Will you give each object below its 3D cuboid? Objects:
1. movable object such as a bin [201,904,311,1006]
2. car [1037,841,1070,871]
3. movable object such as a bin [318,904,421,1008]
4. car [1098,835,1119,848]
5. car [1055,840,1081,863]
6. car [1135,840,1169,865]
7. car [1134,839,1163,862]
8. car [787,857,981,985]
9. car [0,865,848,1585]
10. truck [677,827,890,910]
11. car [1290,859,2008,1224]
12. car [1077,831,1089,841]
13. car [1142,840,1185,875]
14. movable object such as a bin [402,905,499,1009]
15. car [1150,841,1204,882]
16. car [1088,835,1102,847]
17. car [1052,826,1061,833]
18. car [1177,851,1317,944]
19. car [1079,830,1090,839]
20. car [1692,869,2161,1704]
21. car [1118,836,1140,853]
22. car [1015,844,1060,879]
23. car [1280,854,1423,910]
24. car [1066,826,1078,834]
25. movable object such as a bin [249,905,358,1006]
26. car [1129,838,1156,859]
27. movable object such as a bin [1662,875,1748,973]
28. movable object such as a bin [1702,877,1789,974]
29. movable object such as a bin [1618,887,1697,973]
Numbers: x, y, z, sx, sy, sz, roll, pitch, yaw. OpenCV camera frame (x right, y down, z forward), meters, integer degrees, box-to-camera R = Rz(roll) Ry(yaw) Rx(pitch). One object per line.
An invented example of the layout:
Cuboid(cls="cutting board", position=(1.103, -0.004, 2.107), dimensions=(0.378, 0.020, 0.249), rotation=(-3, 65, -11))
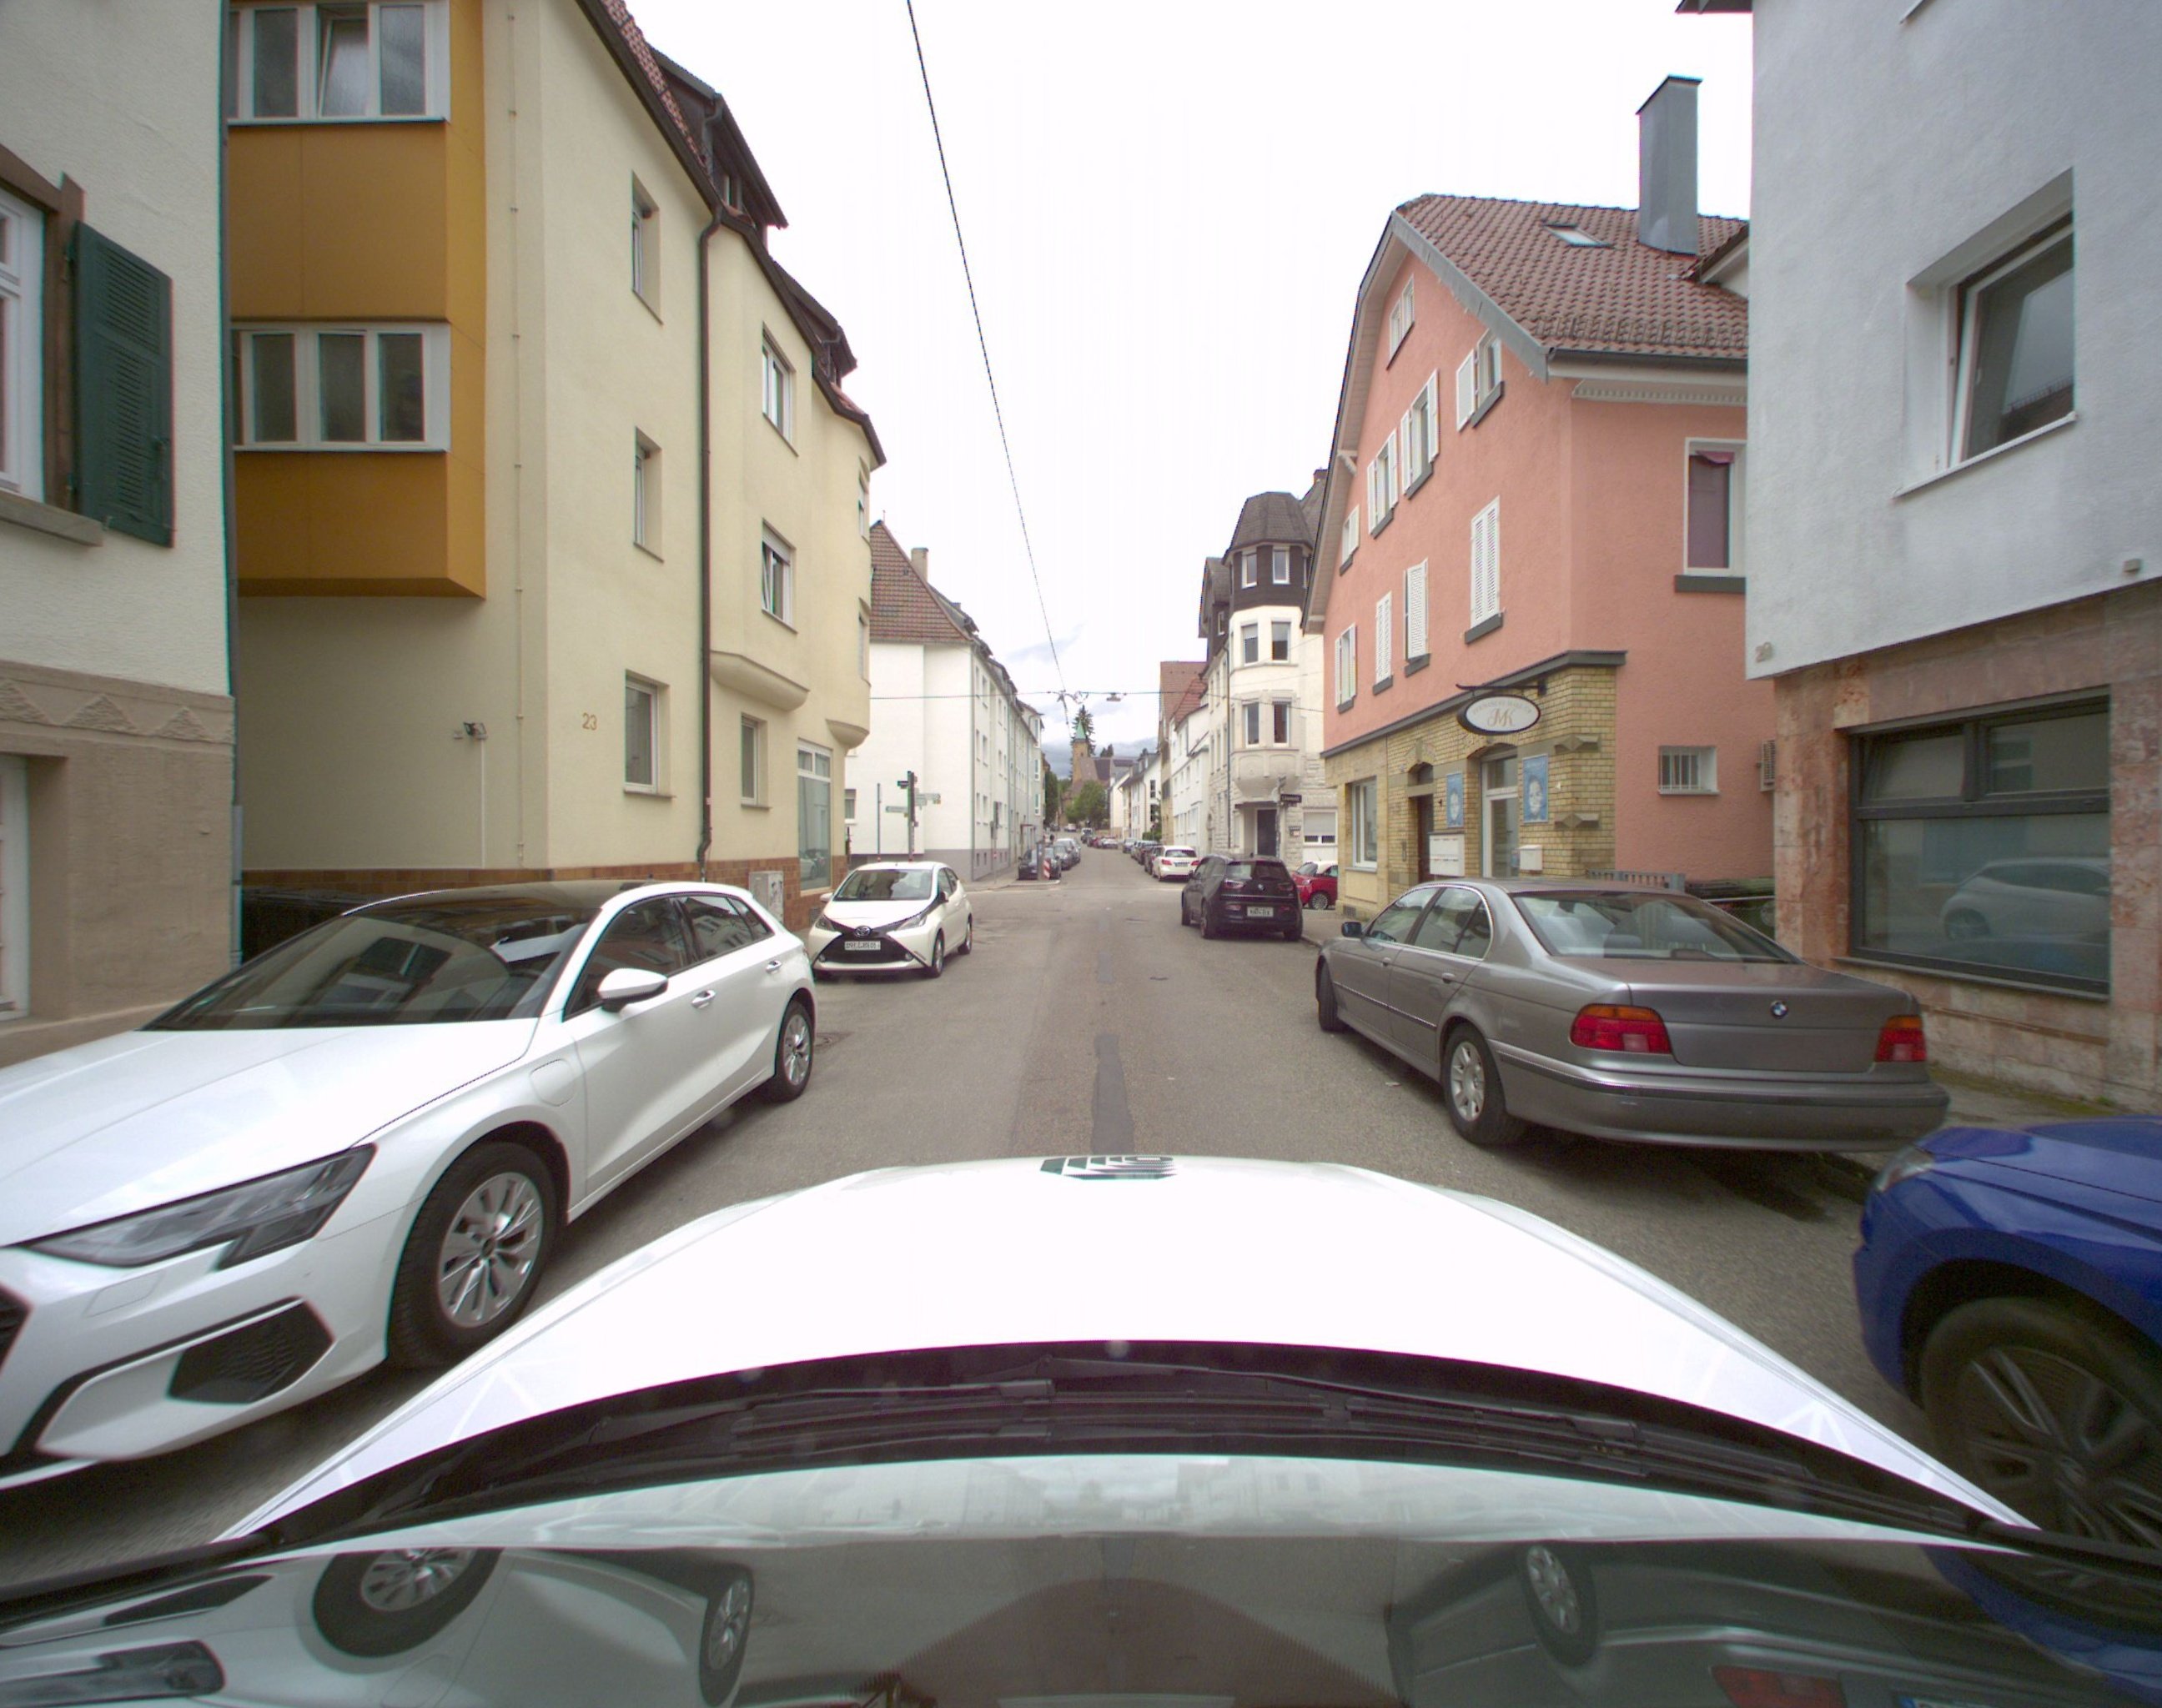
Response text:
Cuboid(cls="movable object such as a bin", position=(-8.031, 0.970, 7.946), dimensions=(0.502, 0.924, 0.546), rotation=(1, 0, -4))
Cuboid(cls="car", position=(-1.519, 0.080, 46.051), dimensions=(1.725, 1.489, 3.719), rotation=(-1, 2, 0))
Cuboid(cls="movable object such as a bin", position=(-6.845, 0.964, 7.856), dimensions=(0.502, 0.924, 0.546), rotation=(1, 0, -4))
Cuboid(cls="car", position=(3.143, -1.476, 94.225), dimensions=(1.783, 1.479, 3.616), rotation=(0, 2, -8))
Cuboid(cls="car", position=(-0.858, -0.217, 55.986), dimensions=(1.725, 1.448, 3.719), rotation=(-1, 2, 0))
Cuboid(cls="car", position=(4.470, -0.107, 51.605), dimensions=(1.663, 1.384, 4.026), rotation=(1, 2, -1))
Cuboid(cls="car", position=(4.789, -0.291, 57.938), dimensions=(1.663, 1.479, 3.625), rotation=(1, 2, -2))
Cuboid(cls="car", position=(-2.566, 0.815, 11.552), dimensions=(1.661, 1.434, 3.817), rotation=(-3, -1, 1))
Cuboid(cls="car", position=(-2.686, 0.818, 3.852), dimensions=(1.745, 1.432, 4.371), rotation=(-3, -1, 1))
Cuboid(cls="truck", position=(-9.724, 0.456, 27.137), dimensions=(6.260, 2.552, 2.313), rotation=(-1, -1, -7))
Cuboid(cls="car", position=(2.911, 0.792, 5.610), dimensions=(1.781, 1.417, 4.578), rotation=(2, -1, 1))
Cuboid(cls="car", position=(0.284, -2.685, 122.166), dimensions=(1.663, 1.479, 3.625), rotation=(0, 2, -1))
Cuboid(cls="car", position=(4.133, 0.146, 41.361), dimensions=(1.663, 1.532, 4.026), rotation=(1, 2, -1))
Cuboid(cls="movable object such as a bin", position=(-6.094, 0.983, 7.892), dimensions=(0.502, 0.924, 0.546), rotation=(1, 0, -4))
Cuboid(cls="car", position=(4.198, 0.291, 36.266), dimensions=(1.815, 1.599, 4.026), rotation=(1, 2, -2))
Cuboid(cls="car", position=(1.836, -1.733, 105.165), dimensions=(1.663, 1.479, 3.625), rotation=(0, 2, -1))
Cuboid(cls="car", position=(-5.250, -5.336, 174.131), dimensions=(1.666, 1.479, 3.619), rotation=(0, 2, -6))
Cuboid(cls="car", position=(3.091, 0.740, 15.969), dimensions=(1.813, 1.543, 4.025), rotation=(1, 0, -2))
Cuboid(cls="car", position=(0.553, -3.254, 133.916), dimensions=(1.663, 1.479, 3.625), rotation=(0, 2, -1))
Cuboid(cls="car", position=(2.720, 0.750, 0.562), dimensions=(1.745, 1.432, 3.929), rotation=(1, -1, 1))
Cuboid(cls="car", position=(4.425, -0.904, 75.764), dimensions=(1.663, 1.479, 3.625), rotation=(1, 2, -2))
Cuboid(cls="car", position=(-1.897, 0.299, 36.690), dimensions=(1.814, 1.391, 4.297), rotation=(-1, 2, 0))
Cuboid(cls="car", position=(7.896, 0.807, 23.896), dimensions=(3.610, 1.479, 1.669), rotation=(1, 1, -7))
Cuboid(cls="car", position=(-1.965, -5.187, 172.787), dimensions=(2.179, 1.693, 3.619), rotation=(0, 2, -7))
Cuboid(cls="movable object such as a bin", position=(-7.456, 0.963, 7.831), dimensions=(0.502, 0.894, 0.546), rotation=(1, 0, -4))
Cuboid(cls="car", position=(4.719, -0.435, 62.546), dimensions=(1.663, 1.479, 3.625), rotation=(1, 2, -2))
Cuboid(cls="movable object such as a bin", position=(7.263, 0.796, 9.500), dimensions=(0.502, 1.061, 0.604), rotation=(-2, 0, -4))
Cuboid(cls="movable object such as a bin", position=(7.787, 0.817, 9.567), dimensions=(0.502, 1.061, 0.604), rotation=(-2, 0, -4))
Cuboid(cls="movable object such as a bin", position=(6.698, 0.873, 9.484), dimensions=(0.502, 0.924, 0.546), rotation=(-2, 0, -4))
